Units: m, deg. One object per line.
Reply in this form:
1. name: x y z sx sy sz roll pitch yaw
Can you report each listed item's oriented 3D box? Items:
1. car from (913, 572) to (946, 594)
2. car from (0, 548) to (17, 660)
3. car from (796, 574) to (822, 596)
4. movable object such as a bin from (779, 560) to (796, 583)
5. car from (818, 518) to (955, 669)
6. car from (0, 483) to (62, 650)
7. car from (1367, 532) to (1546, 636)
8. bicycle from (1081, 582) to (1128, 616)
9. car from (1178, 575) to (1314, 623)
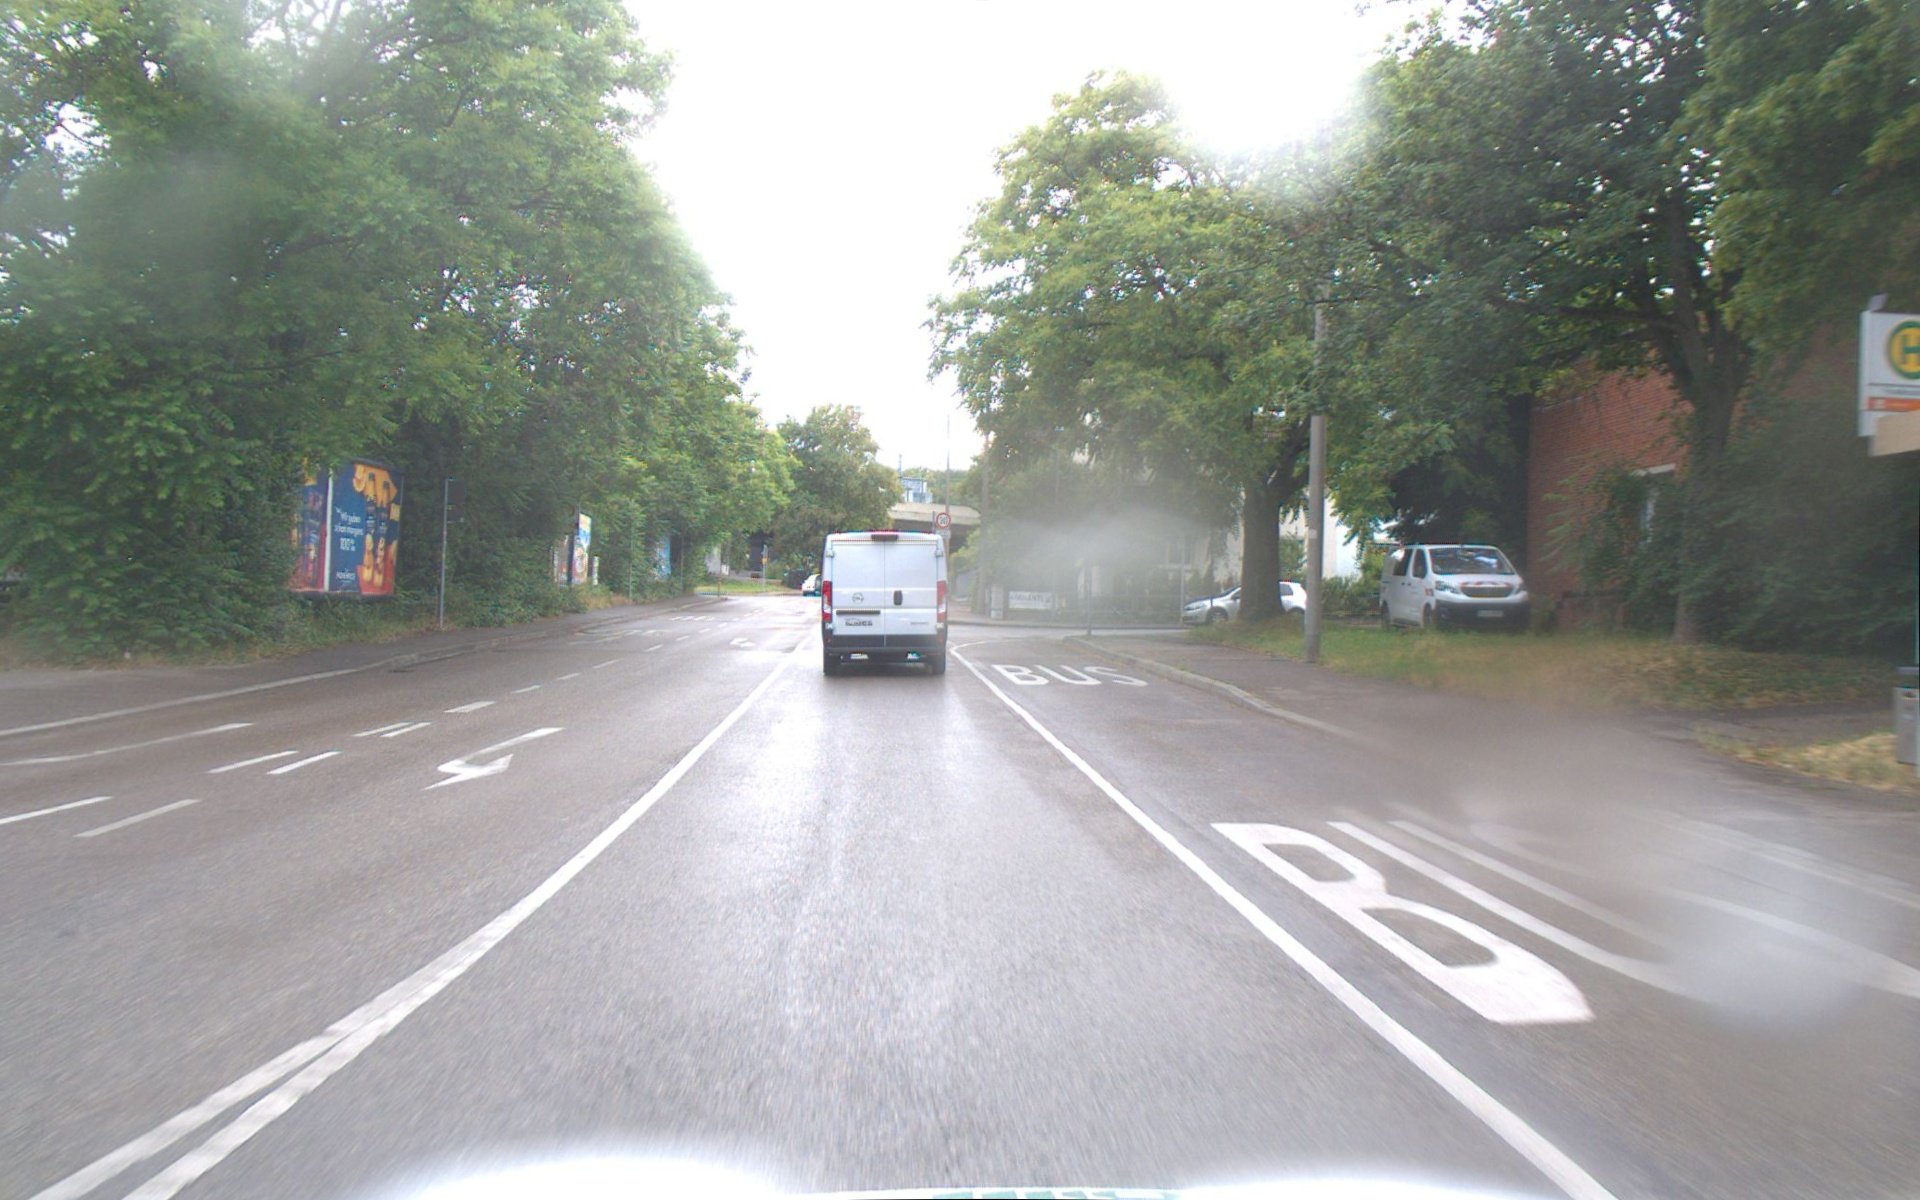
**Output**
1. car: -2.213 -1.240 120.733 1.728 1.537 3.758 2 1 9
2. car: -15.690 -0.057 23.397 4.030 1.569 1.999 4 1 23
3. car: -10.346 -1.059 113.449 1.621 1.441 3.933 -1 1 -4
4. movable object such as a bin: -13.153 -2.183 126.062 0.921 1.590 1.130 7 1 1
5. car: -1.247 -0.090 28.178 2.103 2.323 5.060 1 0 -3
6. car: -16.558 -0.651 27.900 2.086 2.576 5.545 2 1 -32
7. car: 9.922 -0.330 33.504 1.953 1.836 5.147 3 1 -1
8. bicycle: 4.840 -0.034 55.340 1.538 1.134 0.457 0 1 0
9. car: 8.919 -0.019 51.754 3.910 1.448 1.702 0 -1 -6
